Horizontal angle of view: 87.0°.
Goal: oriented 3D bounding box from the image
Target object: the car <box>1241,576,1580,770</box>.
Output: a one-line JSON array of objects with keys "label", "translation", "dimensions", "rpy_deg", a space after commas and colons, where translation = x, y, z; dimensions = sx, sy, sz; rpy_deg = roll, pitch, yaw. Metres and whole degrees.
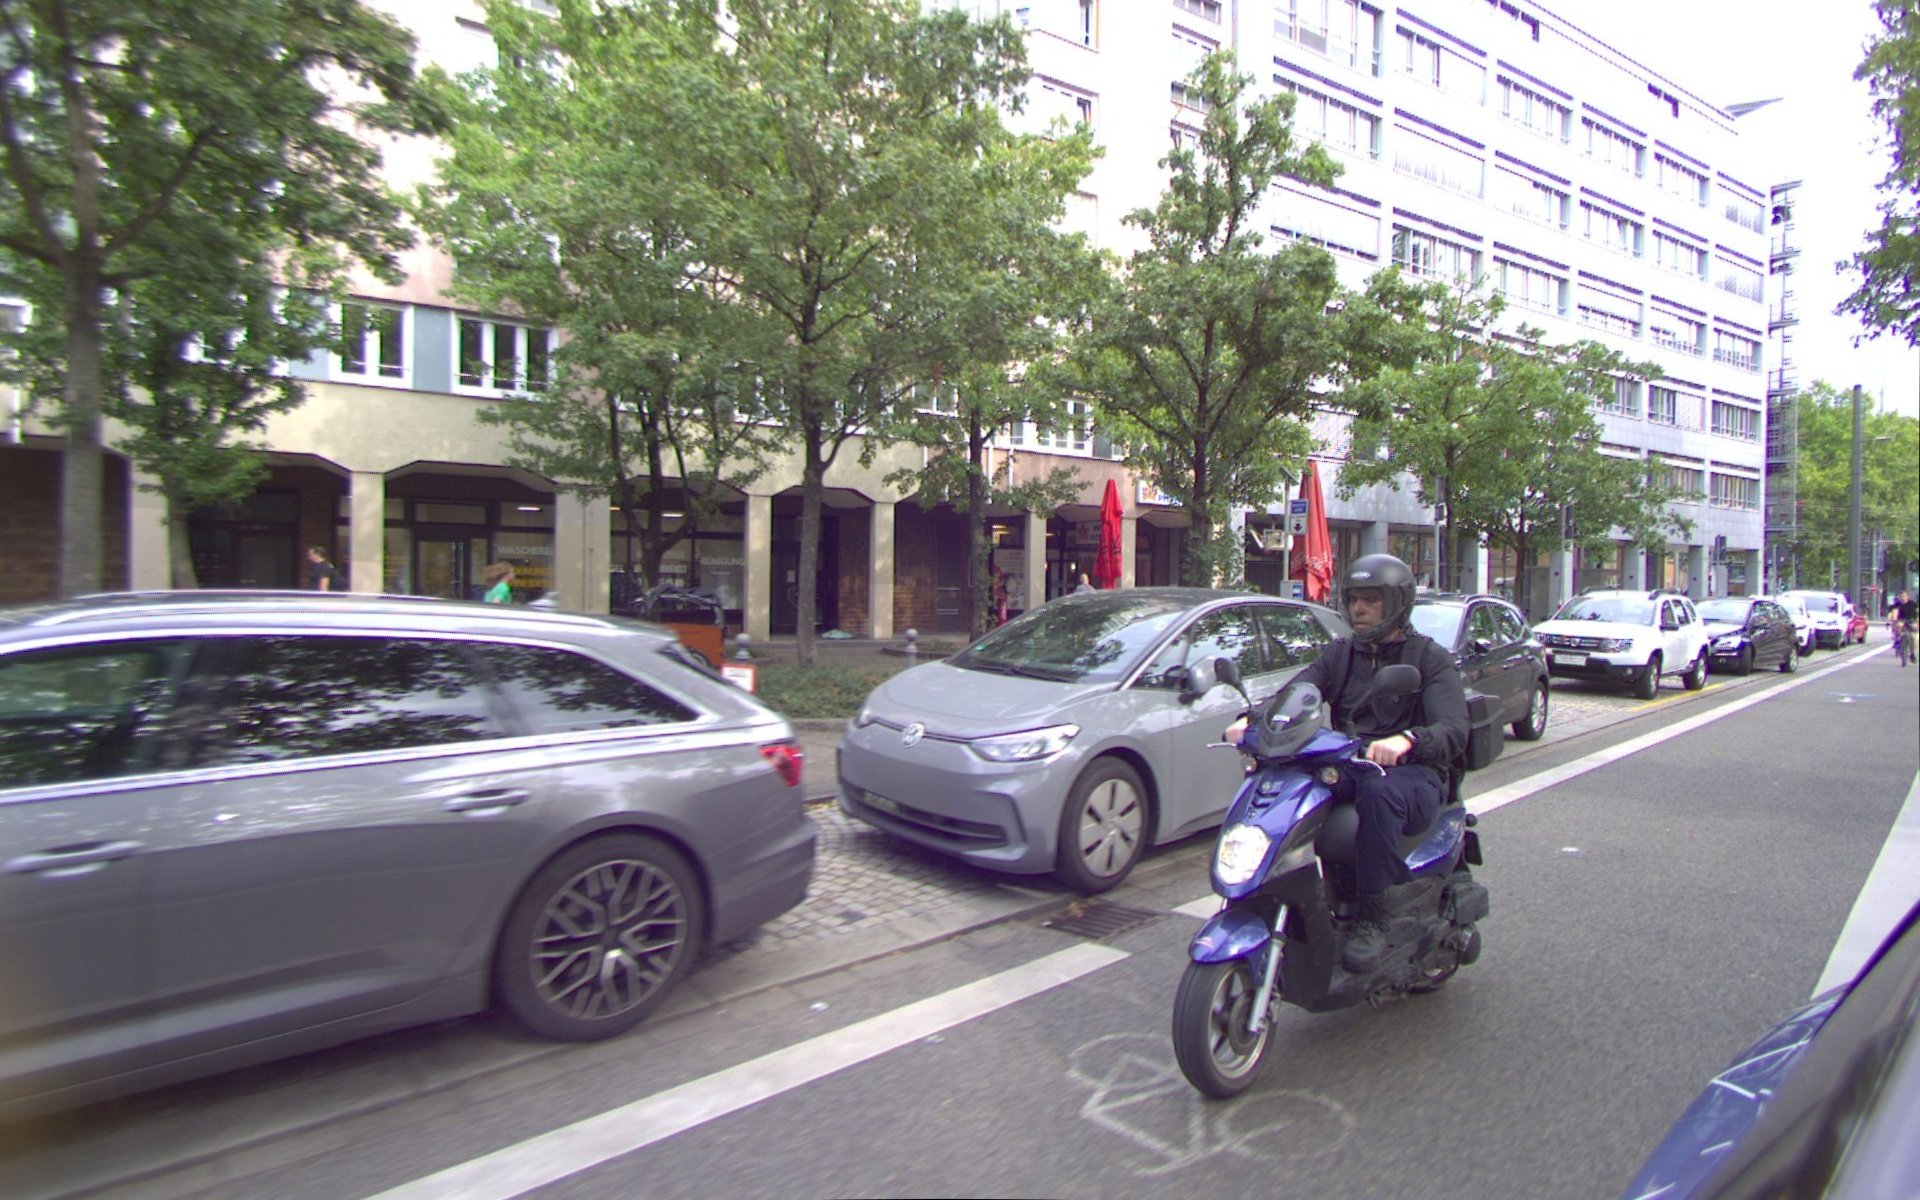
[{"label": "car", "translation": [4.750, 0.585, 10.373], "dimensions": [4.134, 1.537, 1.717], "rpy_deg": [0, 3, -44]}]

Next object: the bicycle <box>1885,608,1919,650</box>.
[{"label": "bicycle", "translation": [27.018, 0.814, 29.006], "dimensions": [1.705, 1.153, 0.595], "rpy_deg": [0, 1, -43]}]

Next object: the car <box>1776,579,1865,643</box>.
[{"label": "car", "translation": [27.978, 0.323, 32.847], "dimensions": [1.828, 1.887, 4.573], "rpy_deg": [4, 3, 44]}]

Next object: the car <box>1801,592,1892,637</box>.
[{"label": "car", "translation": [32.047, 0.506, 36.563], "dimensions": [4.176, 1.450, 1.727], "rpy_deg": [0, 3, -39]}]

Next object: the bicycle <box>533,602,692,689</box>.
[{"label": "bicycle", "translation": [-4.355, 0.549, 12.757], "dimensions": [1.826, 1.025, 0.487], "rpy_deg": [0, 0, -34]}]

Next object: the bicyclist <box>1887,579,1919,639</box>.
[{"label": "bicyclist", "translation": [27.019, 0.258, 28.989], "dimensions": [1.017, 1.674, 0.590], "rpy_deg": [0, 1, -43]}]

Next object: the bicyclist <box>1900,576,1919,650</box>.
[{"label": "bicyclist", "translation": [23.461, 0.320, 24.731], "dimensions": [1.017, 1.790, 0.590], "rpy_deg": [1, 1, -43]}]

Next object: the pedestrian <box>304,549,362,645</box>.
[{"label": "pedestrian", "translation": [-10.608, -0.051, 17.153], "dimensions": [0.783, 1.575, 0.713], "rpy_deg": [1, 1, -30]}]

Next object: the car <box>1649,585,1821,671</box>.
[{"label": "car", "translation": [16.578, 0.537, 21.601], "dimensions": [4.224, 1.596, 1.781], "rpy_deg": [0, 3, -37]}]

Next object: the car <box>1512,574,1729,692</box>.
[{"label": "car", "translation": [10.932, 0.470, 16.659], "dimensions": [4.089, 1.674, 1.865], "rpy_deg": [0, 2, -40]}]

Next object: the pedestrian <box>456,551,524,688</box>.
[{"label": "pedestrian", "translation": [-5.737, 0.225, 12.350], "dimensions": [0.668, 1.606, 0.608], "rpy_deg": [0, 0, -33]}]

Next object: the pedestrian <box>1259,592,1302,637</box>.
[{"label": "pedestrian", "translation": [8.537, 0.381, 26.946], "dimensions": [0.685, 1.171, 0.824], "rpy_deg": [1, 0, -31]}]

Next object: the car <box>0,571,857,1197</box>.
[{"label": "car", "translation": [-2.739, 0.659, 3.200], "dimensions": [4.584, 1.460, 1.820], "rpy_deg": [0, 2, -41]}]

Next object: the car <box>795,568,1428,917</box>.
[{"label": "car", "translation": [1.240, 0.625, 6.642], "dimensions": [4.325, 1.537, 1.743], "rpy_deg": [0, 2, -42]}]

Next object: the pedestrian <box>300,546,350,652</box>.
[{"label": "pedestrian", "translation": [-10.373, -0.016, 16.529], "dimensions": [0.668, 1.683, 0.608], "rpy_deg": [0, 0, -33]}]

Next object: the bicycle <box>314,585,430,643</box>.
[{"label": "bicycle", "translation": [-10.879, 0.245, 18.747], "dimensions": [1.826, 1.025, 0.487], "rpy_deg": [0, 0, -34]}]

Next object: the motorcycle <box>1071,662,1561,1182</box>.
[{"label": "motorcycle", "translation": [1.372, 0.868, 3.563], "dimensions": [0.768, 1.121, 2.172], "rpy_deg": [2, 2, 45]}]

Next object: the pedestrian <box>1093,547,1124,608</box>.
[{"label": "pedestrian", "translation": [2.971, -0.451, 20.252], "dimensions": [0.447, 1.191, 0.518], "rpy_deg": [1, 0, -14]}]

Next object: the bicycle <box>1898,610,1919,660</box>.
[{"label": "bicycle", "translation": [23.424, 0.844, 24.714], "dimensions": [2.055, 1.153, 0.595], "rpy_deg": [0, 1, -43]}]

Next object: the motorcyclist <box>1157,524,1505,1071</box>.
[{"label": "motorcyclist", "translation": [1.282, 0.539, 3.464], "dimensions": [1.001, 1.538, 0.760], "rpy_deg": [-1, 1, -45]}]

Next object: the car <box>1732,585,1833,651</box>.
[{"label": "car", "translation": [23.668, 0.459, 29.062], "dimensions": [1.994, 1.622, 4.514], "rpy_deg": [5, 3, 42]}]

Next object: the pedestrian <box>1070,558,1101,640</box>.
[{"label": "pedestrian", "translation": [2.487, -0.026, 20.077], "dimensions": [0.470, 1.589, 0.518], "rpy_deg": [1, 0, -7]}]

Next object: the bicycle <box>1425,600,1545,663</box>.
[{"label": "bicycle", "translation": [10.440, 0.604, 20.196], "dimensions": [0.586, 1.138, 2.038], "rpy_deg": [1, 1, -43]}]
